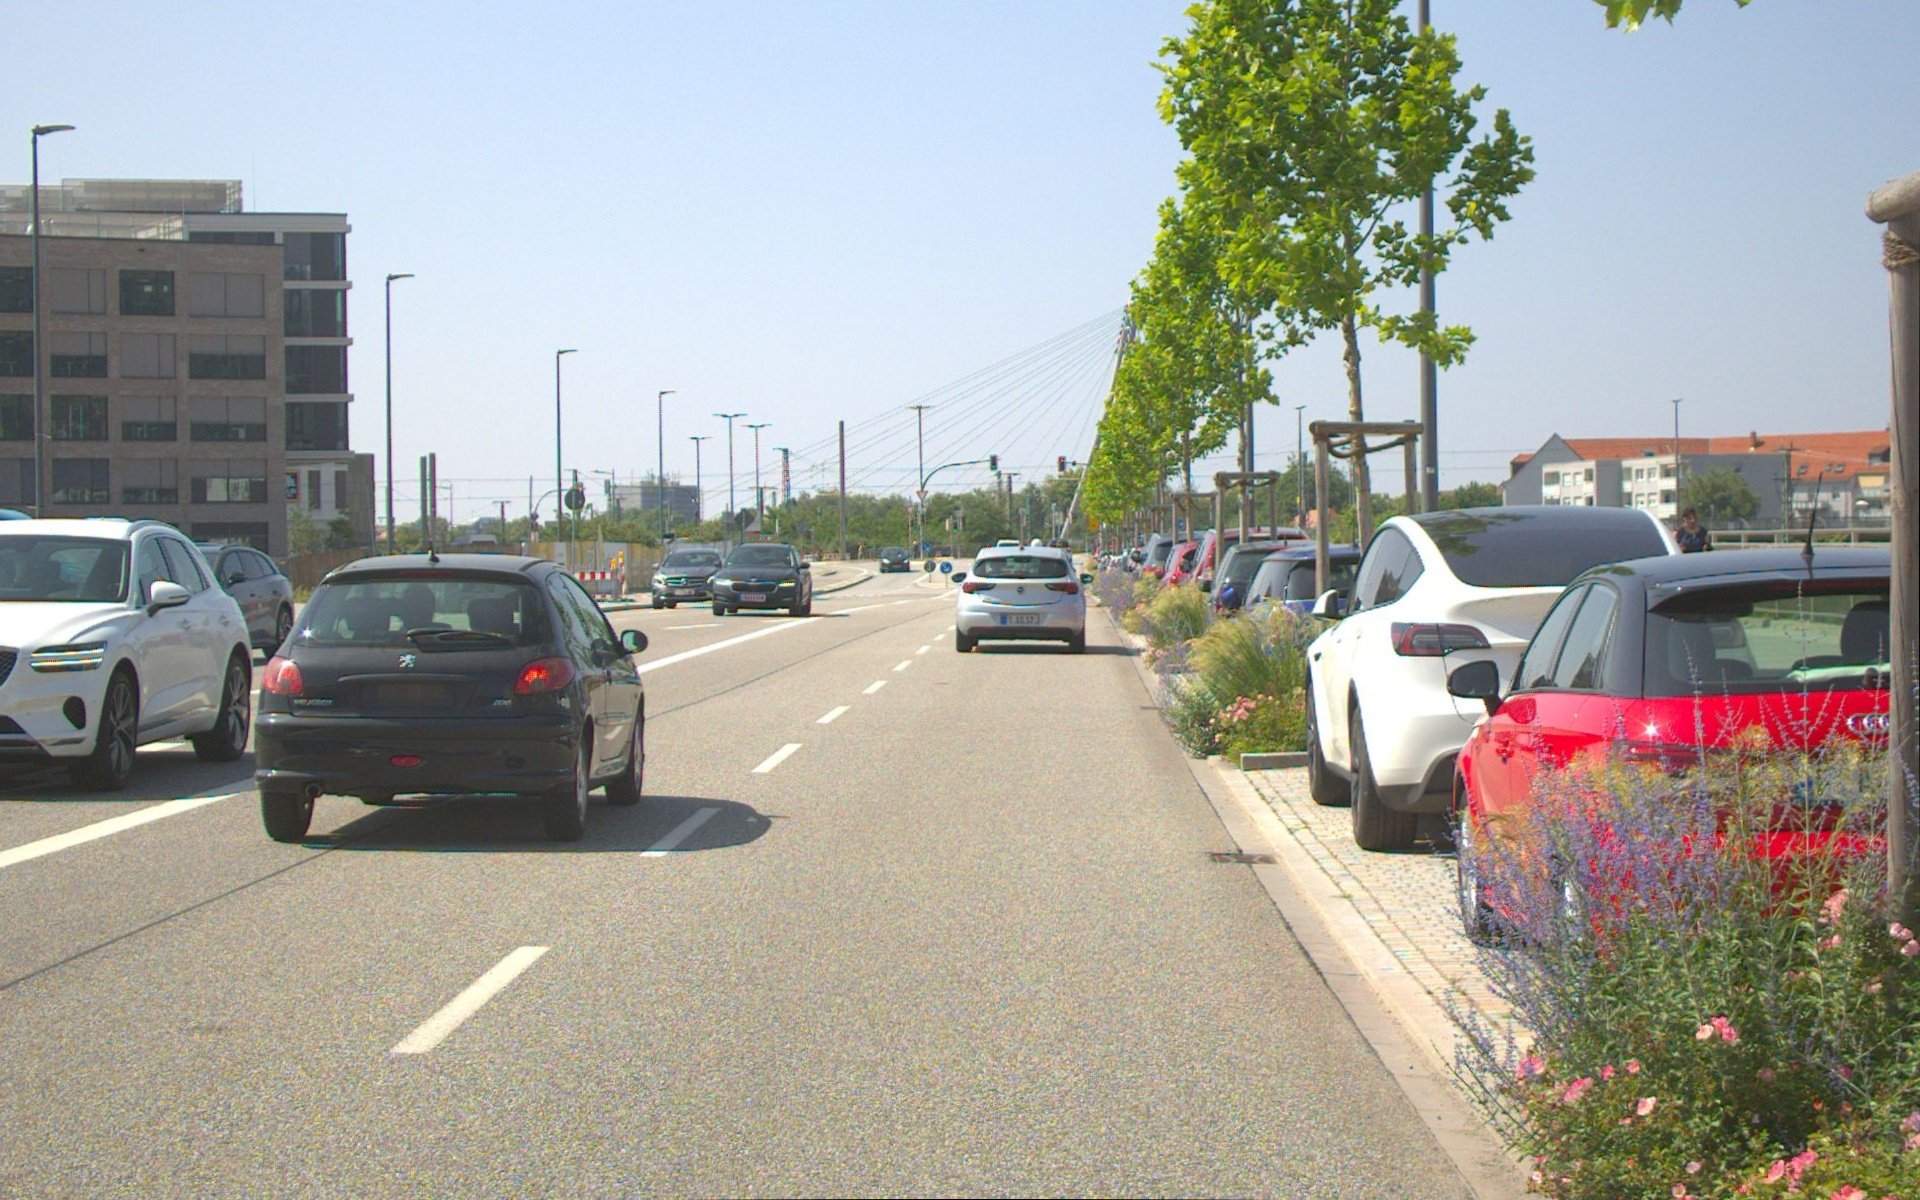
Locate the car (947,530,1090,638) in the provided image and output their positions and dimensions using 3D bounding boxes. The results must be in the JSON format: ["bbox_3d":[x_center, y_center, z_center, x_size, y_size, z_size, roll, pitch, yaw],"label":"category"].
[{"bbox_3d":[0.856,-0.240,48.134,1.778,1.437,4.000,1,1,4],"label":"car"}]

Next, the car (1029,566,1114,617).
[{"bbox_3d":[2.952,-0.236,91.766,1.632,1.306,4.001,1,0,-7],"label":"car"}]

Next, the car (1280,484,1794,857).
[{"bbox_3d":[2.796,0.297,17.754,1.872,1.621,4.876,1,0,1],"label":"car"}]

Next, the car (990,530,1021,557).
[{"bbox_3d":[2.851,-3.503,213.057,1.854,1.644,4.000,1,1,2],"label":"car"}]

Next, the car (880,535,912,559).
[{"bbox_3d":[-3.791,-3.141,204.165,1.704,1.347,4.456,-1,0,2],"label":"car"}]

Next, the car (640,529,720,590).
[{"bbox_3d":[-6.953,-0.987,85.659,1.793,1.411,4.000,1,0,-2],"label":"car"}]

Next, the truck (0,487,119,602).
[{"bbox_3d":[-22.095,-1.242,76.977,6.004,2.534,2.275,0,0,-1],"label":"truck"}]

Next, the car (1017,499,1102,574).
[{"bbox_3d":[2.288,-1.428,78.303,1.778,1.563,3.999,1,0,3],"label":"car"}]

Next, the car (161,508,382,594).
[{"bbox_3d":[-18.440,-1.313,92.321,5.442,2.166,2.395,1,0,-1],"label":"car"}]

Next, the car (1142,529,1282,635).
[{"bbox_3d":[3.790,-0.295,52.176,1.603,1.486,3.819,-2,1,-3],"label":"car"}]

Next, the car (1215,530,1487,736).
[{"bbox_3d":[3.075,0.206,27.764,1.908,1.474,4.157,-1,1,3],"label":"car"}]

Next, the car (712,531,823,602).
[{"bbox_3d":[-3.929,-0.703,70.729,1.787,1.393,4.571,0,1,3],"label":"car"}]

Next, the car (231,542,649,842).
[{"bbox_3d":[-2.679,0.431,18.457,1.619,1.411,3.727,1,0,1],"label":"car"}]

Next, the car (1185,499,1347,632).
[{"bbox_3d":[3.928,-0.486,44.723,1.908,1.611,4.548,-1,1,3],"label":"car"}]

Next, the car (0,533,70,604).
[{"bbox_3d":[-21.920,-0.718,72.676,5.650,1.469,2.107,1,0,0],"label":"car"}]

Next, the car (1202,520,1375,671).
[{"bbox_3d":[3.419,-0.089,36.284,1.620,1.474,3.824,-1,1,3],"label":"car"}]

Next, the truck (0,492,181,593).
[{"bbox_3d":[-22.112,-1.392,84.091,5.566,2.354,2.275,-1,1,1],"label":"truck"}]

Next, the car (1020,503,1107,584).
[{"bbox_3d":[2.351,-1.275,78.680,1.793,1.744,4.000,1,0,-1],"label":"car"}]

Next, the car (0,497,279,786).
[{"bbox_3d":[-5.846,0.200,21.973,1.913,1.644,4.730,0,1,2],"label":"car"}]

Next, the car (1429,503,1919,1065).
[{"bbox_3d":[2.763,0.465,11.293,1.993,1.514,4.000,1,1,2],"label":"car"}]

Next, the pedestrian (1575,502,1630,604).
[{"bbox_3d":[10.932,-0.800,58.524,0.781,1.699,0.742,1,0,2],"label":"pedestrian"}]

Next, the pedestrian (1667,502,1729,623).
[{"bbox_3d":[10.521,-0.524,49.015,0.732,1.699,0.651,1,-1,3],"label":"pedestrian"}]

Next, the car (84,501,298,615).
[{"bbox_3d":[-10.072,-0.524,45.287,1.894,1.410,3.598,1,0,2],"label":"car"}]
